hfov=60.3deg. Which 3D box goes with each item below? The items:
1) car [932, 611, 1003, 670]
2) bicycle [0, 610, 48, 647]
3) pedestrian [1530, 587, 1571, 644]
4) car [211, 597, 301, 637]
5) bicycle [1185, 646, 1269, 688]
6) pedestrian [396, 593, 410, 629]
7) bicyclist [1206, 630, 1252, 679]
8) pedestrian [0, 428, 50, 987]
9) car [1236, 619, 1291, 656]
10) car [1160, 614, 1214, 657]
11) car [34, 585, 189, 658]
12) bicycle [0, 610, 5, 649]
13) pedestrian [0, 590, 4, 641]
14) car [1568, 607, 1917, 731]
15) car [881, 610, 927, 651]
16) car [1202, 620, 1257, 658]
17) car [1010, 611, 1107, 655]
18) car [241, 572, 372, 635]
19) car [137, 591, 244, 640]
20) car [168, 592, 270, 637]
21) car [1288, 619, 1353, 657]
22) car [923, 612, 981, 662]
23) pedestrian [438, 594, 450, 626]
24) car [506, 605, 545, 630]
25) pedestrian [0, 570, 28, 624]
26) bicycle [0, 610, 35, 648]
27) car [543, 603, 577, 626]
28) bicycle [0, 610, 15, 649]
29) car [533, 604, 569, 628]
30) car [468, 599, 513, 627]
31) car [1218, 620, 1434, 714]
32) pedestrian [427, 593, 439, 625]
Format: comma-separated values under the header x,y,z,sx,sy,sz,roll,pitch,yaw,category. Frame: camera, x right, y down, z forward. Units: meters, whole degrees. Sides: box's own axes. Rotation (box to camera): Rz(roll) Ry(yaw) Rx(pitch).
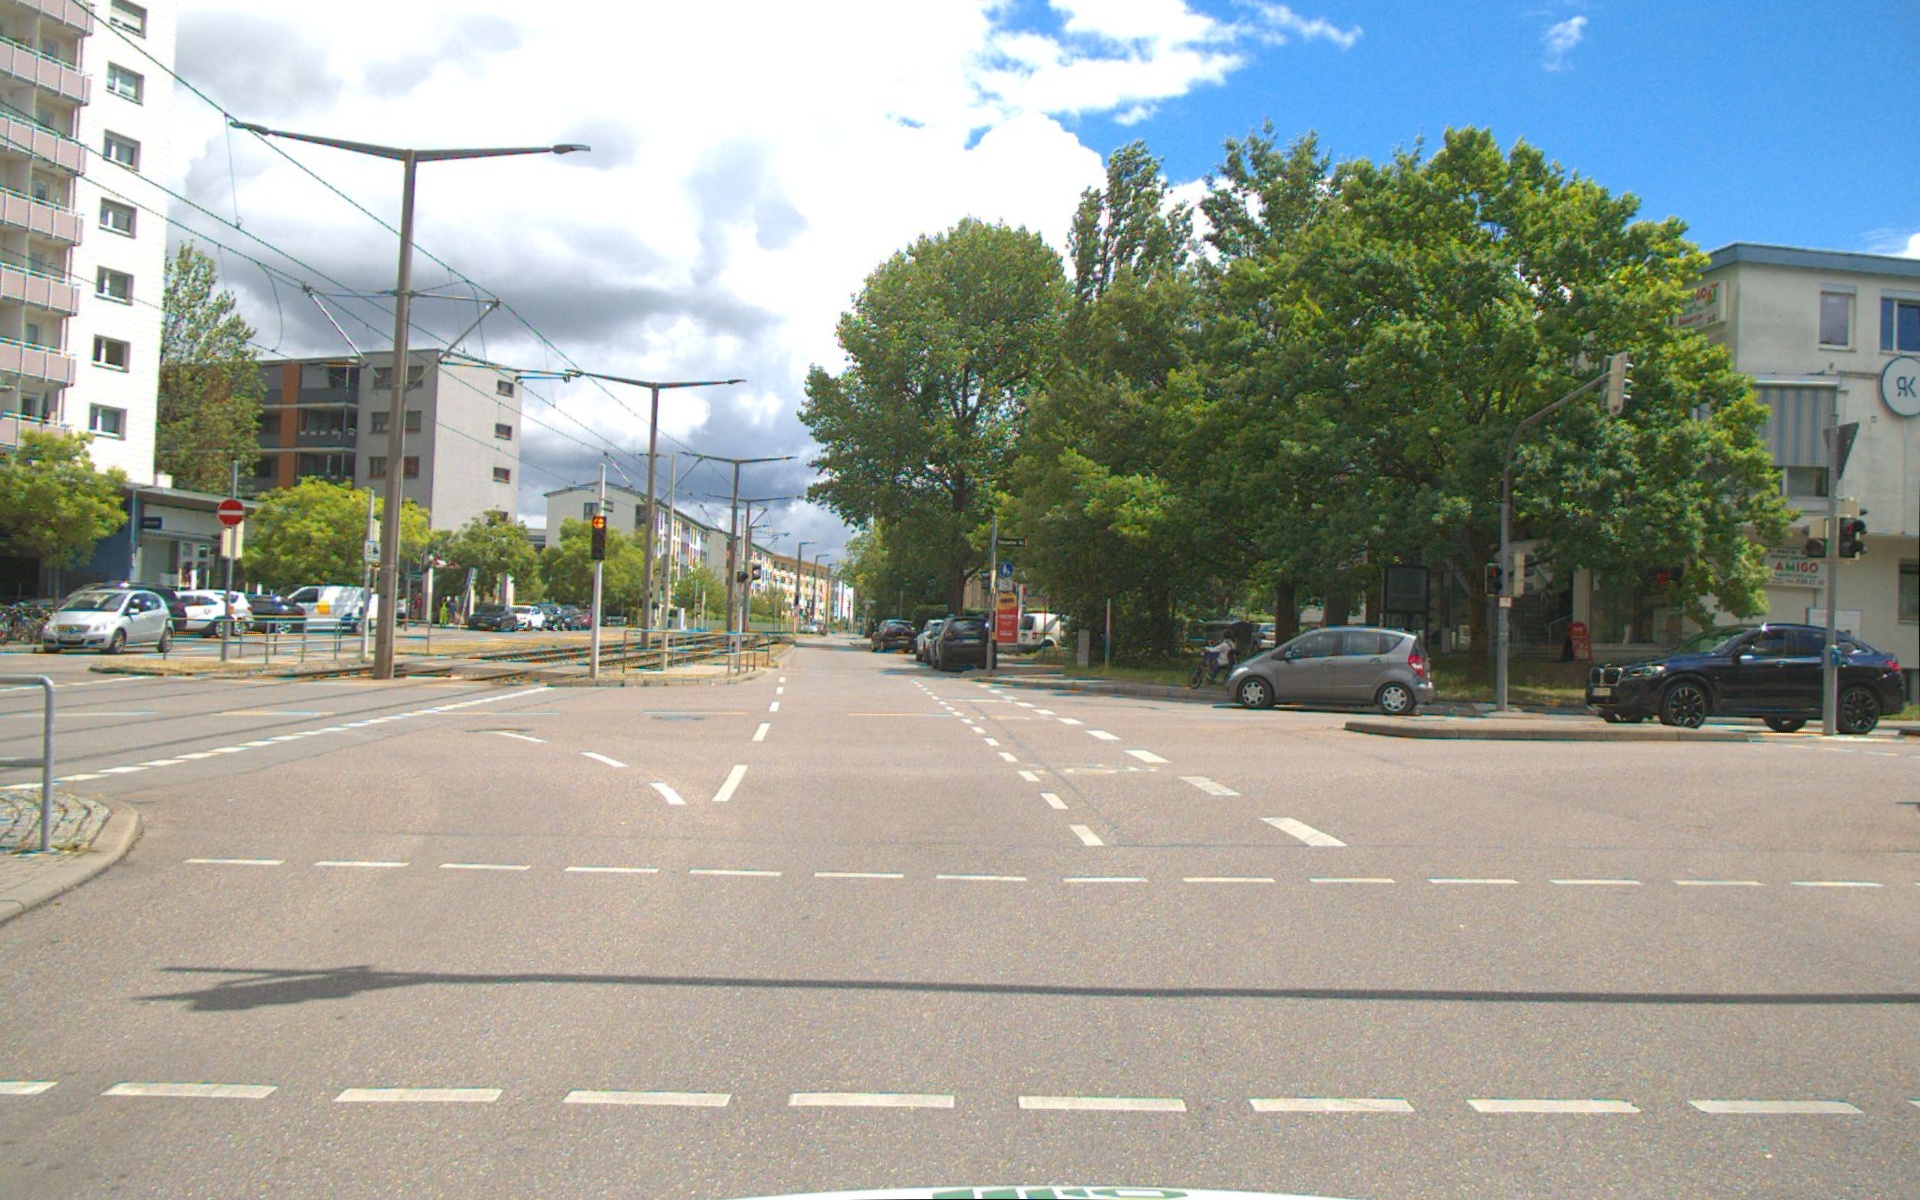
x,y,z,sx,sy,sz,roll,pitch,yaw,category
0.201,1.257,51.789,2.108,1.713,3.999,1,-1,-1,car
-24.751,0.733,42.849,1.910,0.951,0.494,1,-1,-7,bicycle
17.672,0.465,49.507,0.755,1.672,0.904,2,0,-14,pedestrian
-27.298,0.636,64.108,4.147,1.445,1.777,1,0,45,car
5.849,1.463,36.323,0.785,0.833,1.784,2,0,-37,bicycle
-27.218,0.549,80.850,0.536,1.746,0.405,1,0,-1,pedestrian
5.903,1.191,36.309,0.785,1.040,0.628,2,0,-37,bicyclist
-3.843,0.375,5.662,0.947,1.976,0.896,1,0,-5,pedestrian
14.058,1.714,76.775,1.598,1.623,3.997,1,0,-4,car
10.192,1.565,74.496,1.598,1.842,4.029,1,0,-4,car
-21.262,0.514,41.623,1.898,1.723,3.872,1,0,-1,car
-24.647,0.721,40.721,1.910,0.951,0.494,1,-1,-7,bicycle
-31.530,0.500,53.607,0.754,1.643,0.696,1,0,-14,pedestrian
11.934,1.034,25.368,4.472,1.747,1.997,1,0,-8,car
-2.510,1.355,74.383,1.953,1.713,3.999,1,0,-1,car
12.266,1.741,75.401,1.598,1.600,4.029,1,0,-4,car
4.386,1.463,73.374,3.933,1.855,1.766,1,0,-24,car
-27.331,0.124,69.026,2.811,2.522,6.614,1,0,-44,car
-26.763,0.542,57.485,4.143,1.597,1.949,1,0,43,car
-27.209,0.519,60.668,4.143,1.564,1.949,1,0,43,car
16.802,1.762,77.255,1.698,1.623,3.993,1,0,-8,car
-0.304,1.323,59.227,1.953,1.713,3.999,1,-1,-1,car
-28.514,0.525,91.362,0.537,1.746,0.667,1,0,-11,pedestrian
-25.736,1.044,98.080,1.728,1.419,3.993,1,0,-7,car
-35.022,-0.104,61.066,0.853,1.950,1.206,1,0,-22,pedestrian
-24.753,0.729,42.246,1.910,0.951,0.494,1,-1,-7,bicycle
-26.394,0.962,109.227,1.728,1.419,3.993,1,0,-7,car
-24.695,0.723,41.225,1.910,0.951,0.494,1,-1,-7,bicycle
-25.834,0.992,104.671,1.728,1.419,3.993,1,0,-7,car
-25.716,0.696,90.681,1.728,1.419,3.993,1,0,-7,car
6.905,1.224,31.070,3.824,1.583,2.001,1,0,16,car
-28.699,0.481,90.030,0.537,1.746,0.404,1,0,-11,pedestrian
